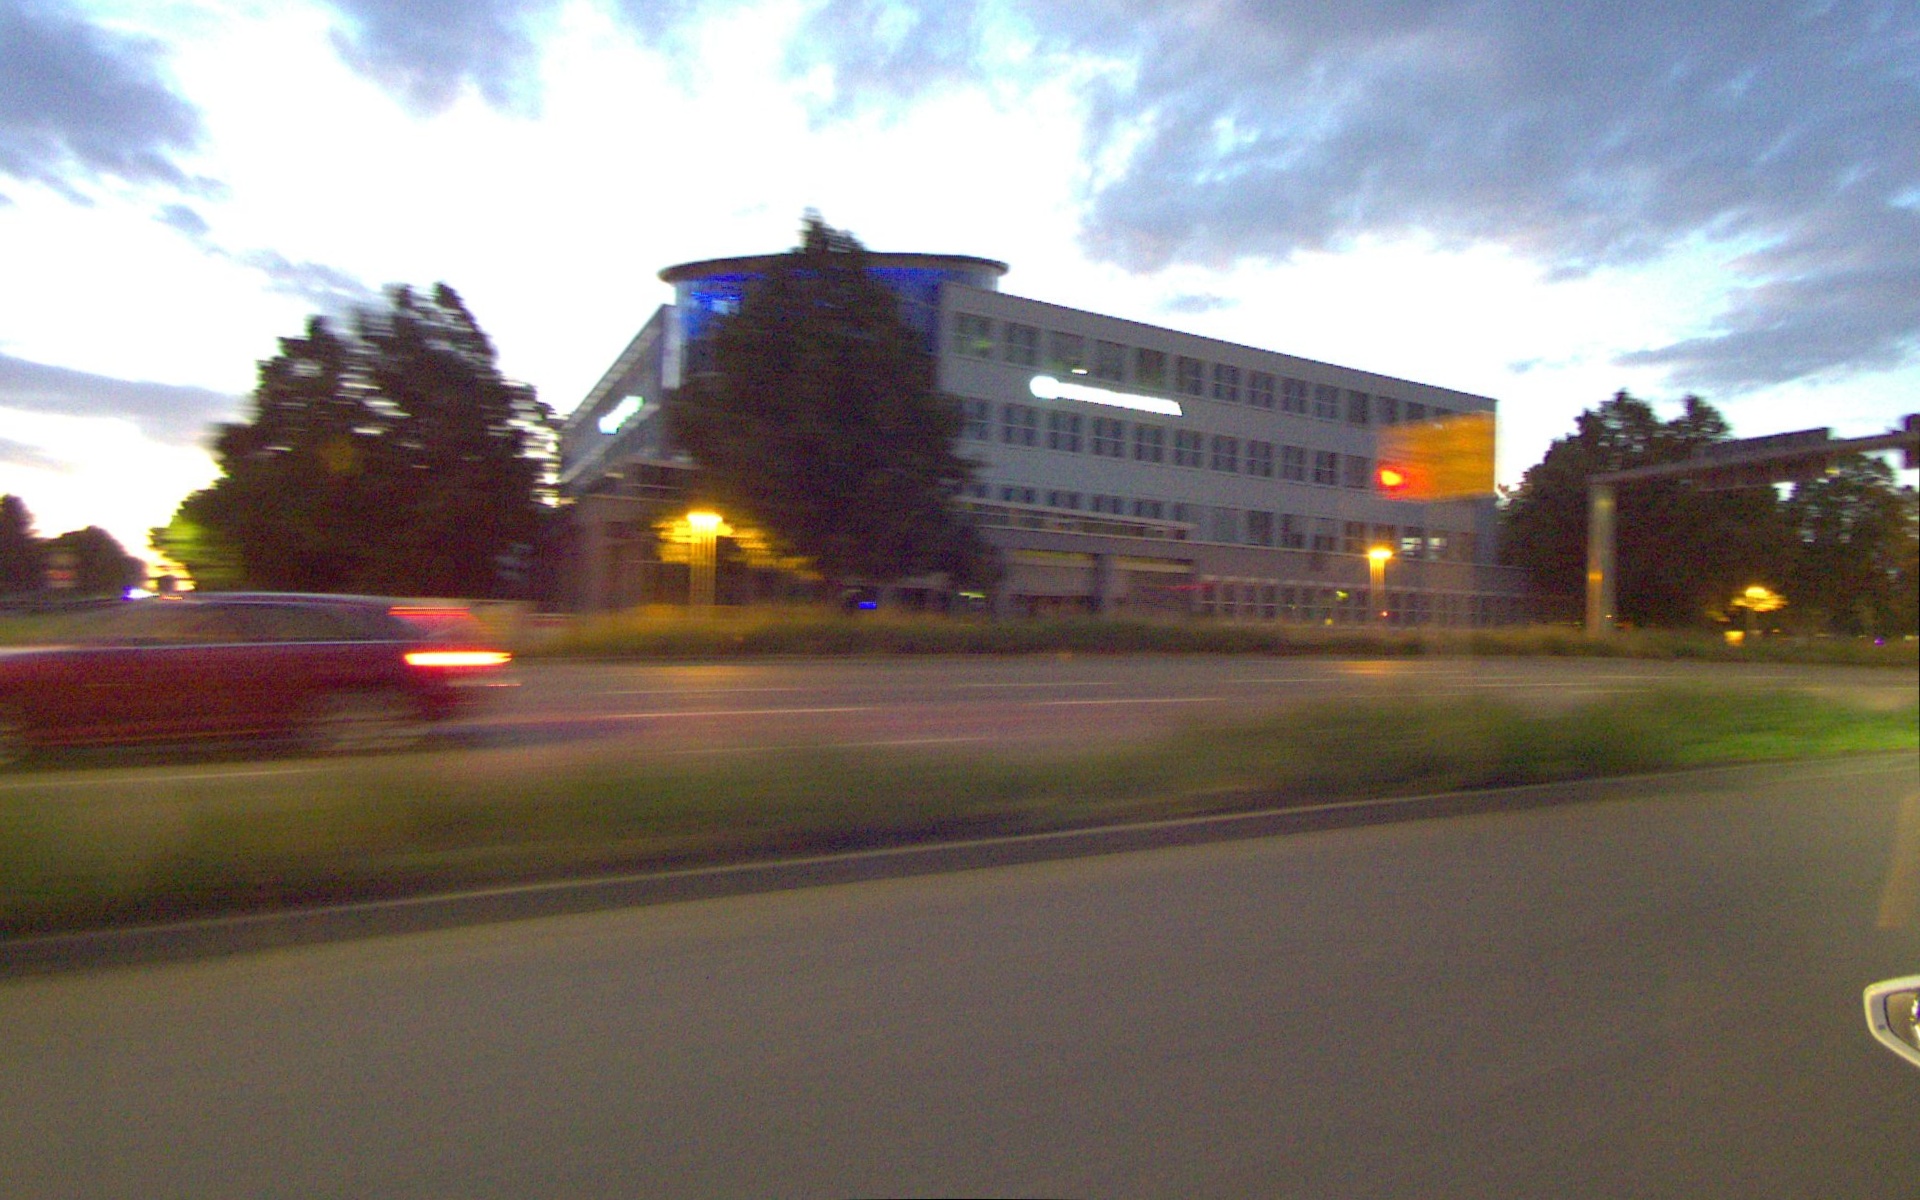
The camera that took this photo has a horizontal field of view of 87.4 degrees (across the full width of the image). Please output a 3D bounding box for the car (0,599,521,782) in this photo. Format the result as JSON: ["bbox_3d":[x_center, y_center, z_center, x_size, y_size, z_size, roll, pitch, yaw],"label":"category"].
[{"bbox_3d":[-6.637,0.727,9.189,4.772,1.416,1.866,1,-1,-25],"label":"car"}]
